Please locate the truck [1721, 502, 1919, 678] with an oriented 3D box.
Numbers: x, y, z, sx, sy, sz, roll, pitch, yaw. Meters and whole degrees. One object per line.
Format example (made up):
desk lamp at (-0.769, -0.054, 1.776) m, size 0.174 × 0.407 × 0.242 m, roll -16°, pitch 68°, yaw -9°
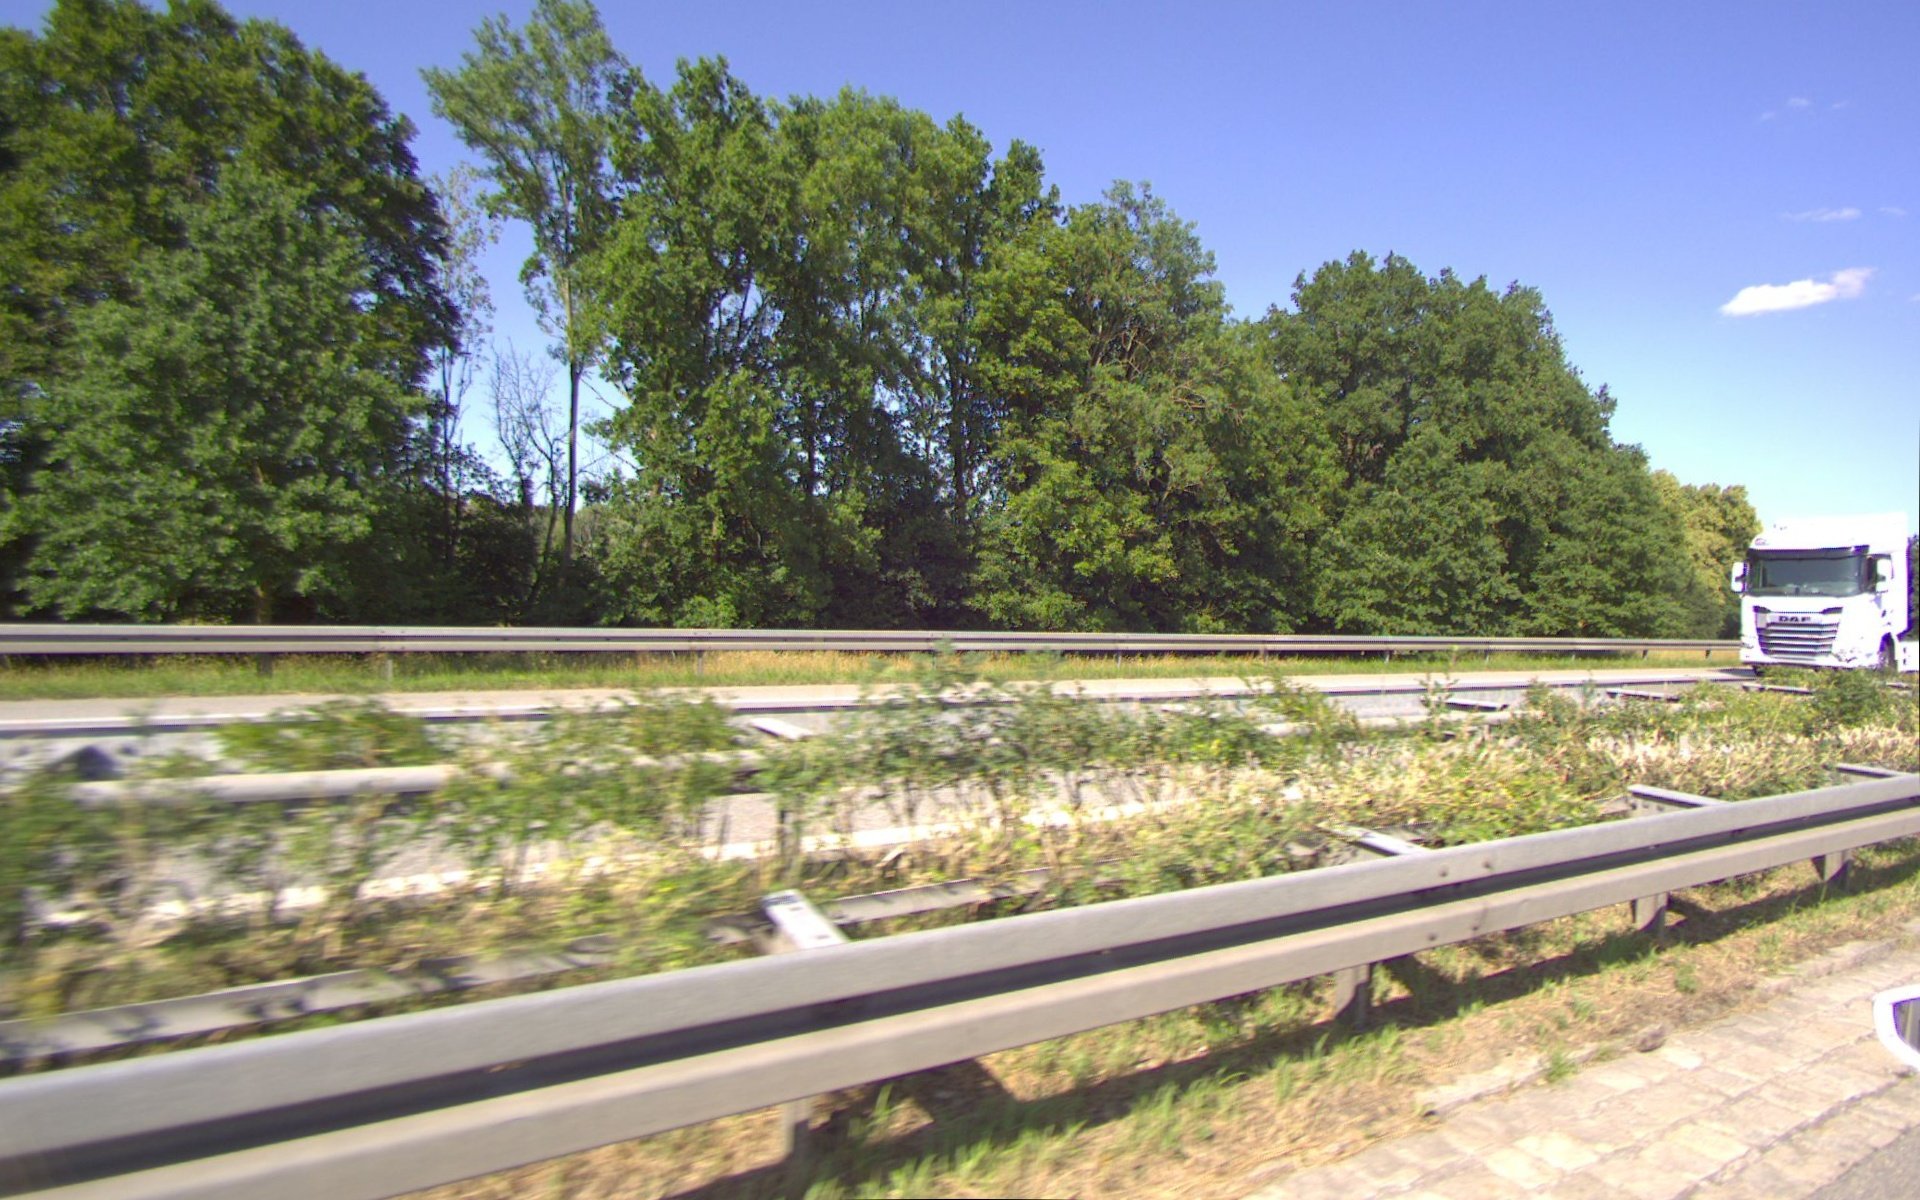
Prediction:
truck at (22.079, -0.120, 25.087) m, size 6.731 × 3.890 × 2.612 m, roll 2°, pitch -1°, yaw -31°
